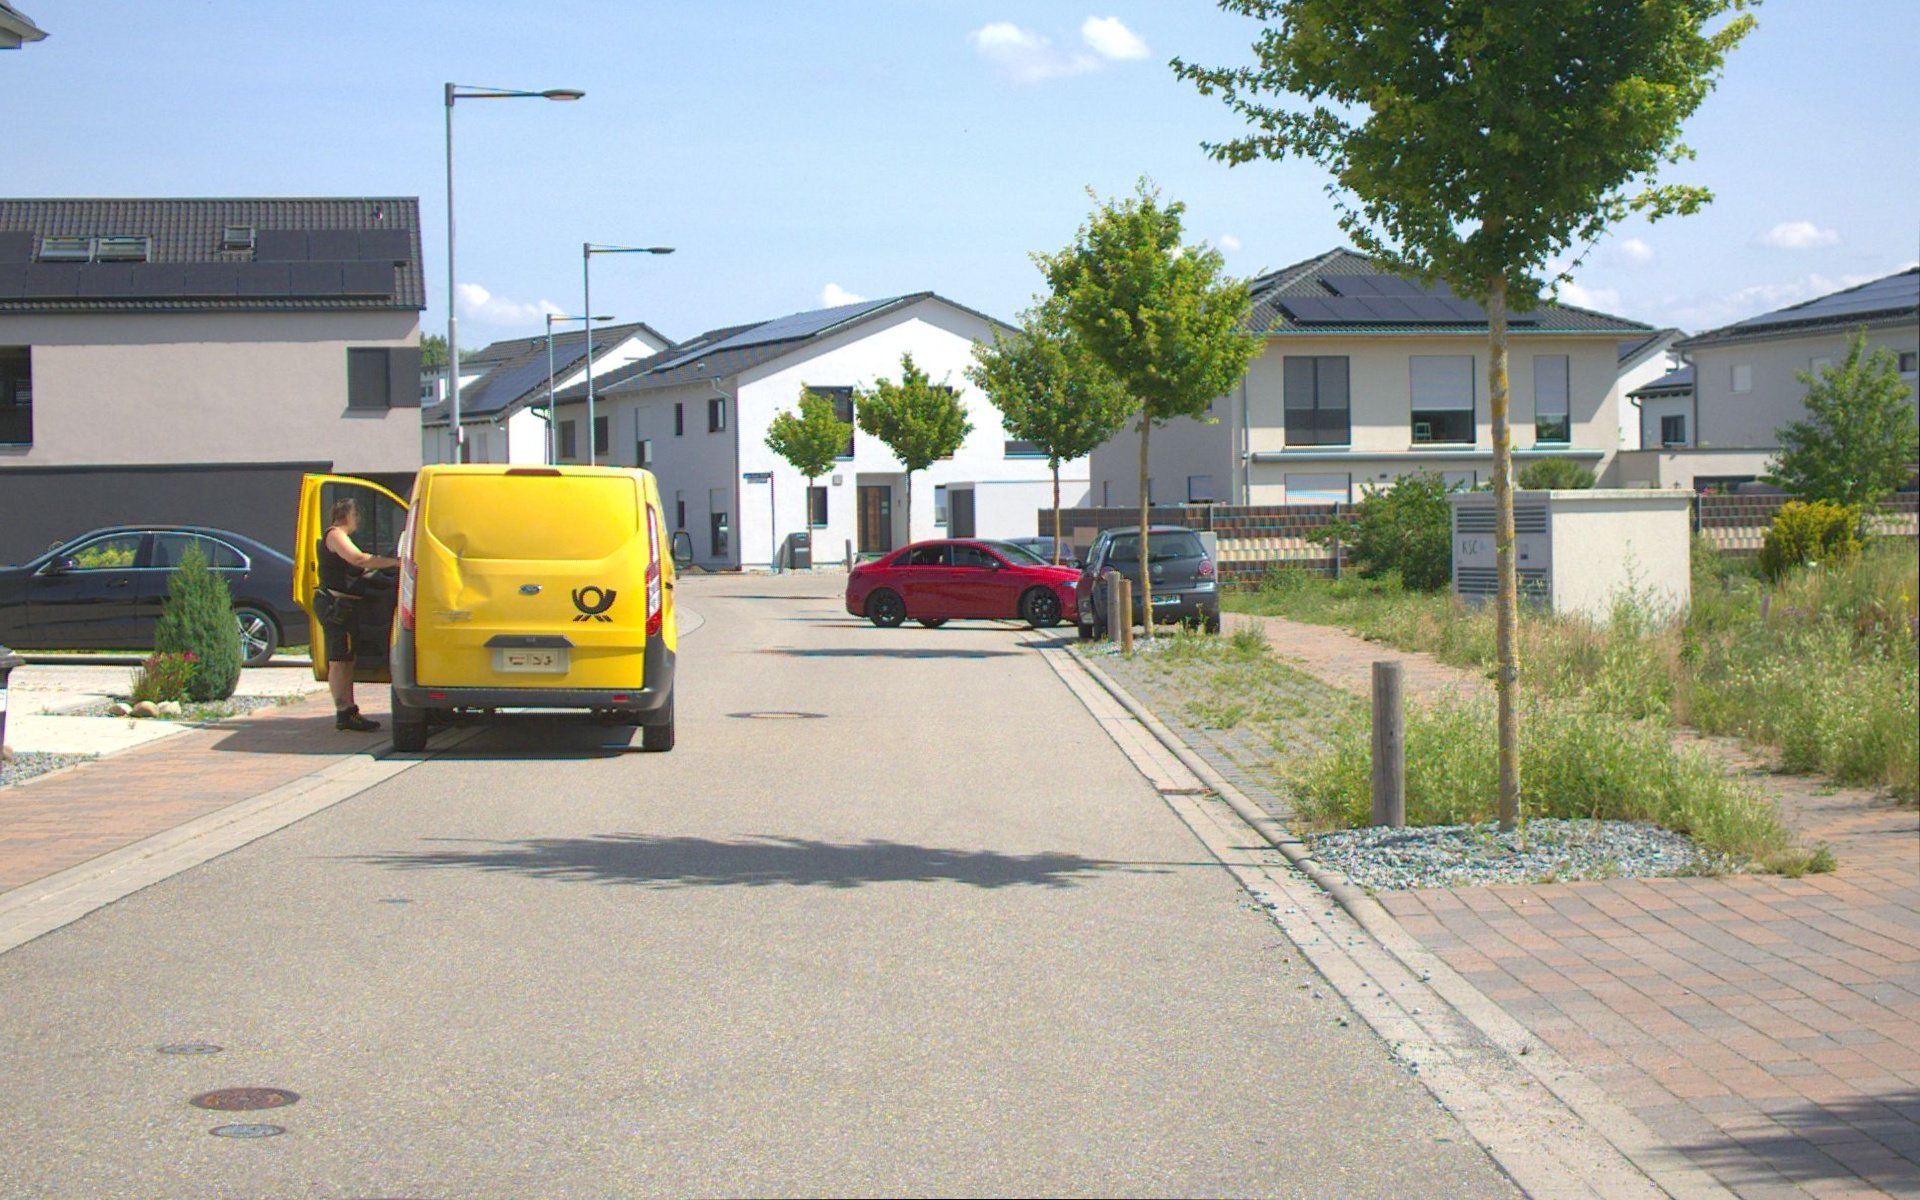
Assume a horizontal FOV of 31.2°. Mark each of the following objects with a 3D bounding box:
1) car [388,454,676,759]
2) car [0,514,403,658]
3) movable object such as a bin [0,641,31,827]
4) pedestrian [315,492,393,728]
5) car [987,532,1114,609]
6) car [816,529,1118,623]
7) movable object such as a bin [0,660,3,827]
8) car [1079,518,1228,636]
[{"bbox_3d":[-3.071,0.006,25.435,1.883,2.007,4.842,1,1,-5],"label":"car"},{"bbox_3d":[-8.093,-0.152,35.841,4.391,1.447,1.750,0,1,-14],"label":"car"},{"bbox_3d":[-5.081,0.685,17.651,0.486,0.922,0.530,-1,1,-3],"label":"movable object such as a bin"},{"bbox_3d":[-4.516,0.068,25.635,0.531,1.732,0.570,1,1,-7],"label":"pedestrian"},{"bbox_3d":[1.646,-0.582,64.131,1.754,1.358,4.577,0,1,-6],"label":"car"},{"bbox_3d":[0.104,-0.405,54.741,4.511,1.433,1.766,1,1,28],"label":"car"},{"bbox_3d":[-5.073,0.690,17.095,0.486,0.922,0.530,-1,1,-3],"label":"movable object such as a bin"},{"bbox_3d":[2.496,-0.327,45.090,1.598,1.470,3.675,-1,1,-2],"label":"car"}]
